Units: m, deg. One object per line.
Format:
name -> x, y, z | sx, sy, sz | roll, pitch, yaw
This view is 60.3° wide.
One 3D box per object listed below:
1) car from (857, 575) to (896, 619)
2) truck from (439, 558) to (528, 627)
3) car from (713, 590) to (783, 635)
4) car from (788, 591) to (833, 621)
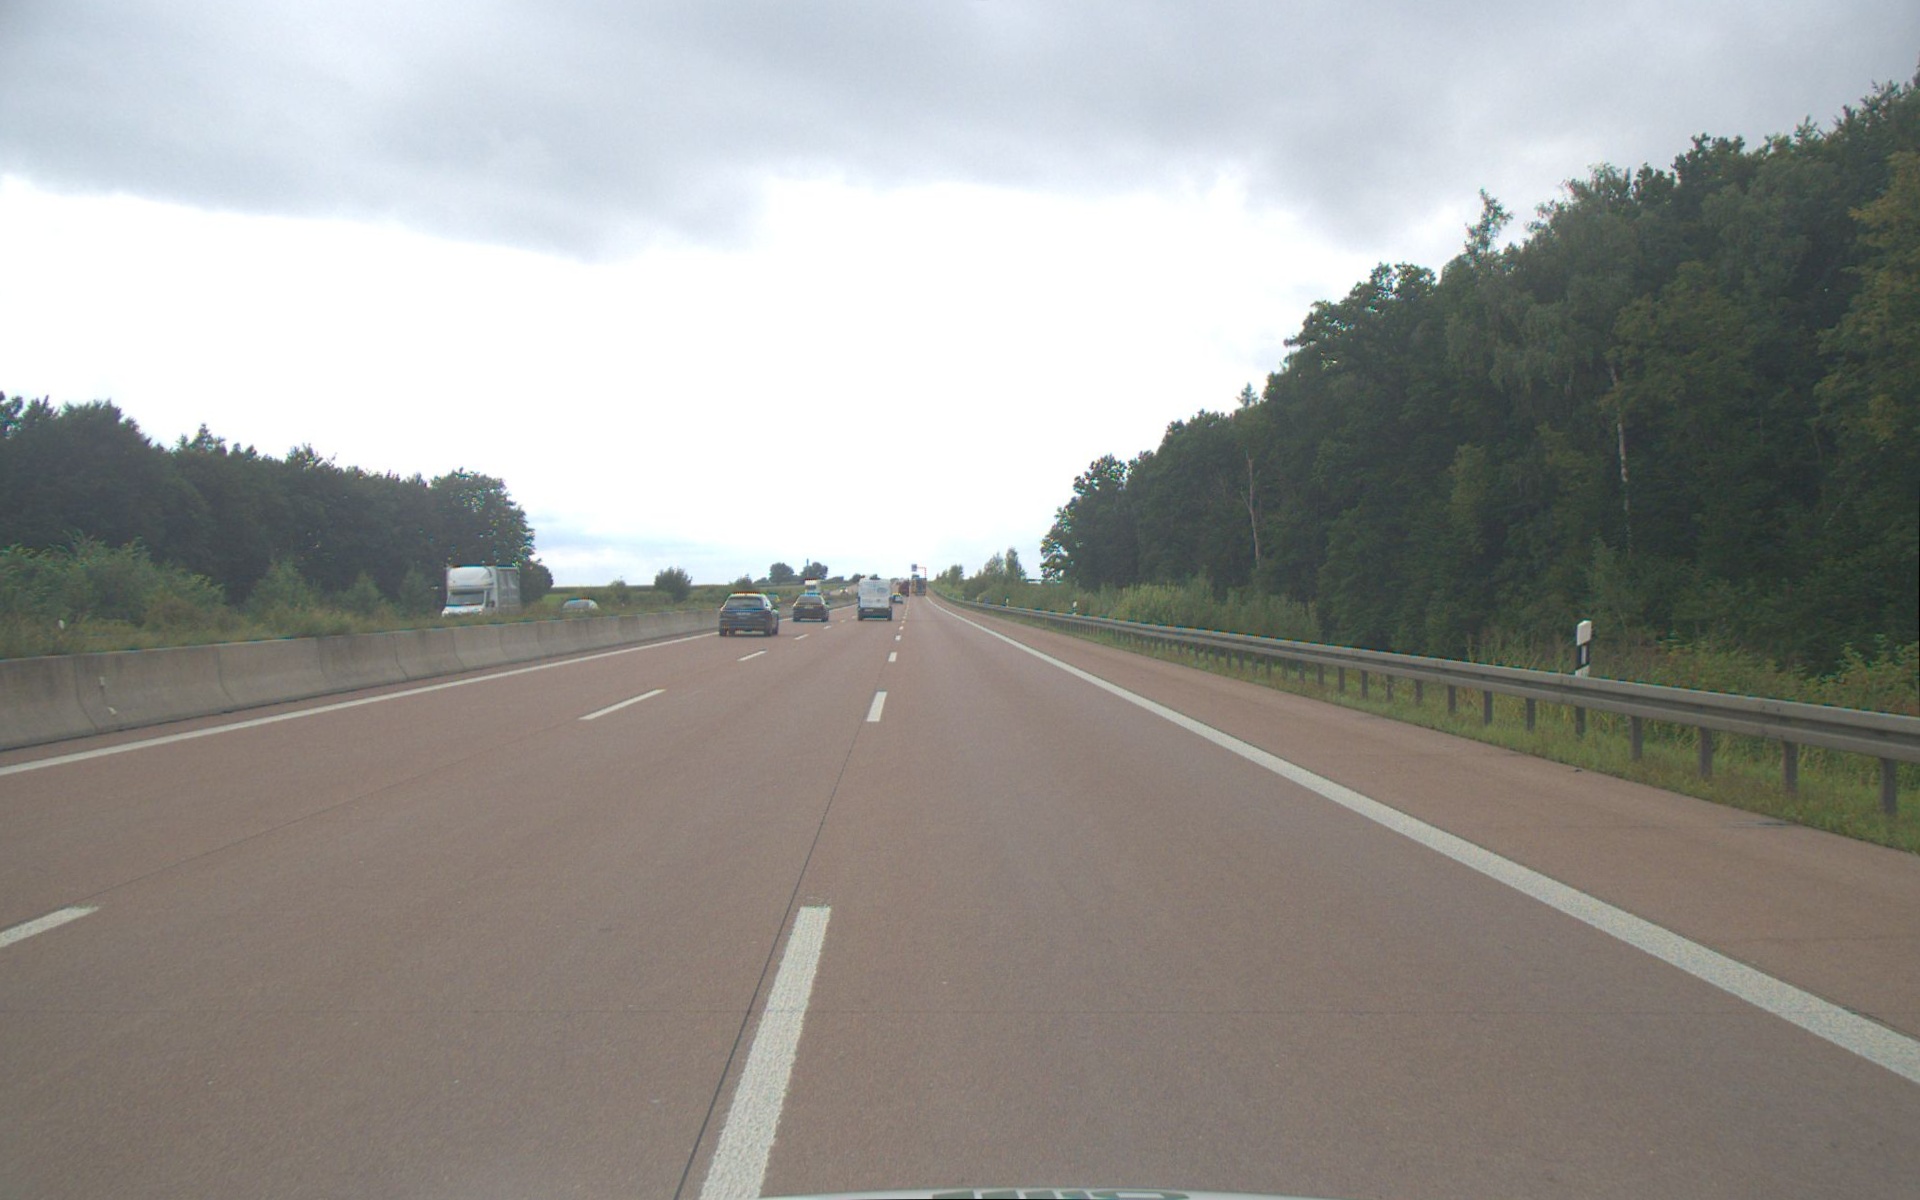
car -> -4.950, -0.227, 98.742 | 2.094, 2.550, 7.130 | 0, 1, -1
truck -> -23.579, -0.367, 82.191 | 2.309, 3.153, 7.479 | 2, 0, -2
car -> -7.581, 0.411, 59.729 | 2.017, 1.517, 5.451 | 0, 0, -2
car -> -8.362, 0.293, 92.978 | 2.043, 1.577, 5.673 | 1, 1, -1
